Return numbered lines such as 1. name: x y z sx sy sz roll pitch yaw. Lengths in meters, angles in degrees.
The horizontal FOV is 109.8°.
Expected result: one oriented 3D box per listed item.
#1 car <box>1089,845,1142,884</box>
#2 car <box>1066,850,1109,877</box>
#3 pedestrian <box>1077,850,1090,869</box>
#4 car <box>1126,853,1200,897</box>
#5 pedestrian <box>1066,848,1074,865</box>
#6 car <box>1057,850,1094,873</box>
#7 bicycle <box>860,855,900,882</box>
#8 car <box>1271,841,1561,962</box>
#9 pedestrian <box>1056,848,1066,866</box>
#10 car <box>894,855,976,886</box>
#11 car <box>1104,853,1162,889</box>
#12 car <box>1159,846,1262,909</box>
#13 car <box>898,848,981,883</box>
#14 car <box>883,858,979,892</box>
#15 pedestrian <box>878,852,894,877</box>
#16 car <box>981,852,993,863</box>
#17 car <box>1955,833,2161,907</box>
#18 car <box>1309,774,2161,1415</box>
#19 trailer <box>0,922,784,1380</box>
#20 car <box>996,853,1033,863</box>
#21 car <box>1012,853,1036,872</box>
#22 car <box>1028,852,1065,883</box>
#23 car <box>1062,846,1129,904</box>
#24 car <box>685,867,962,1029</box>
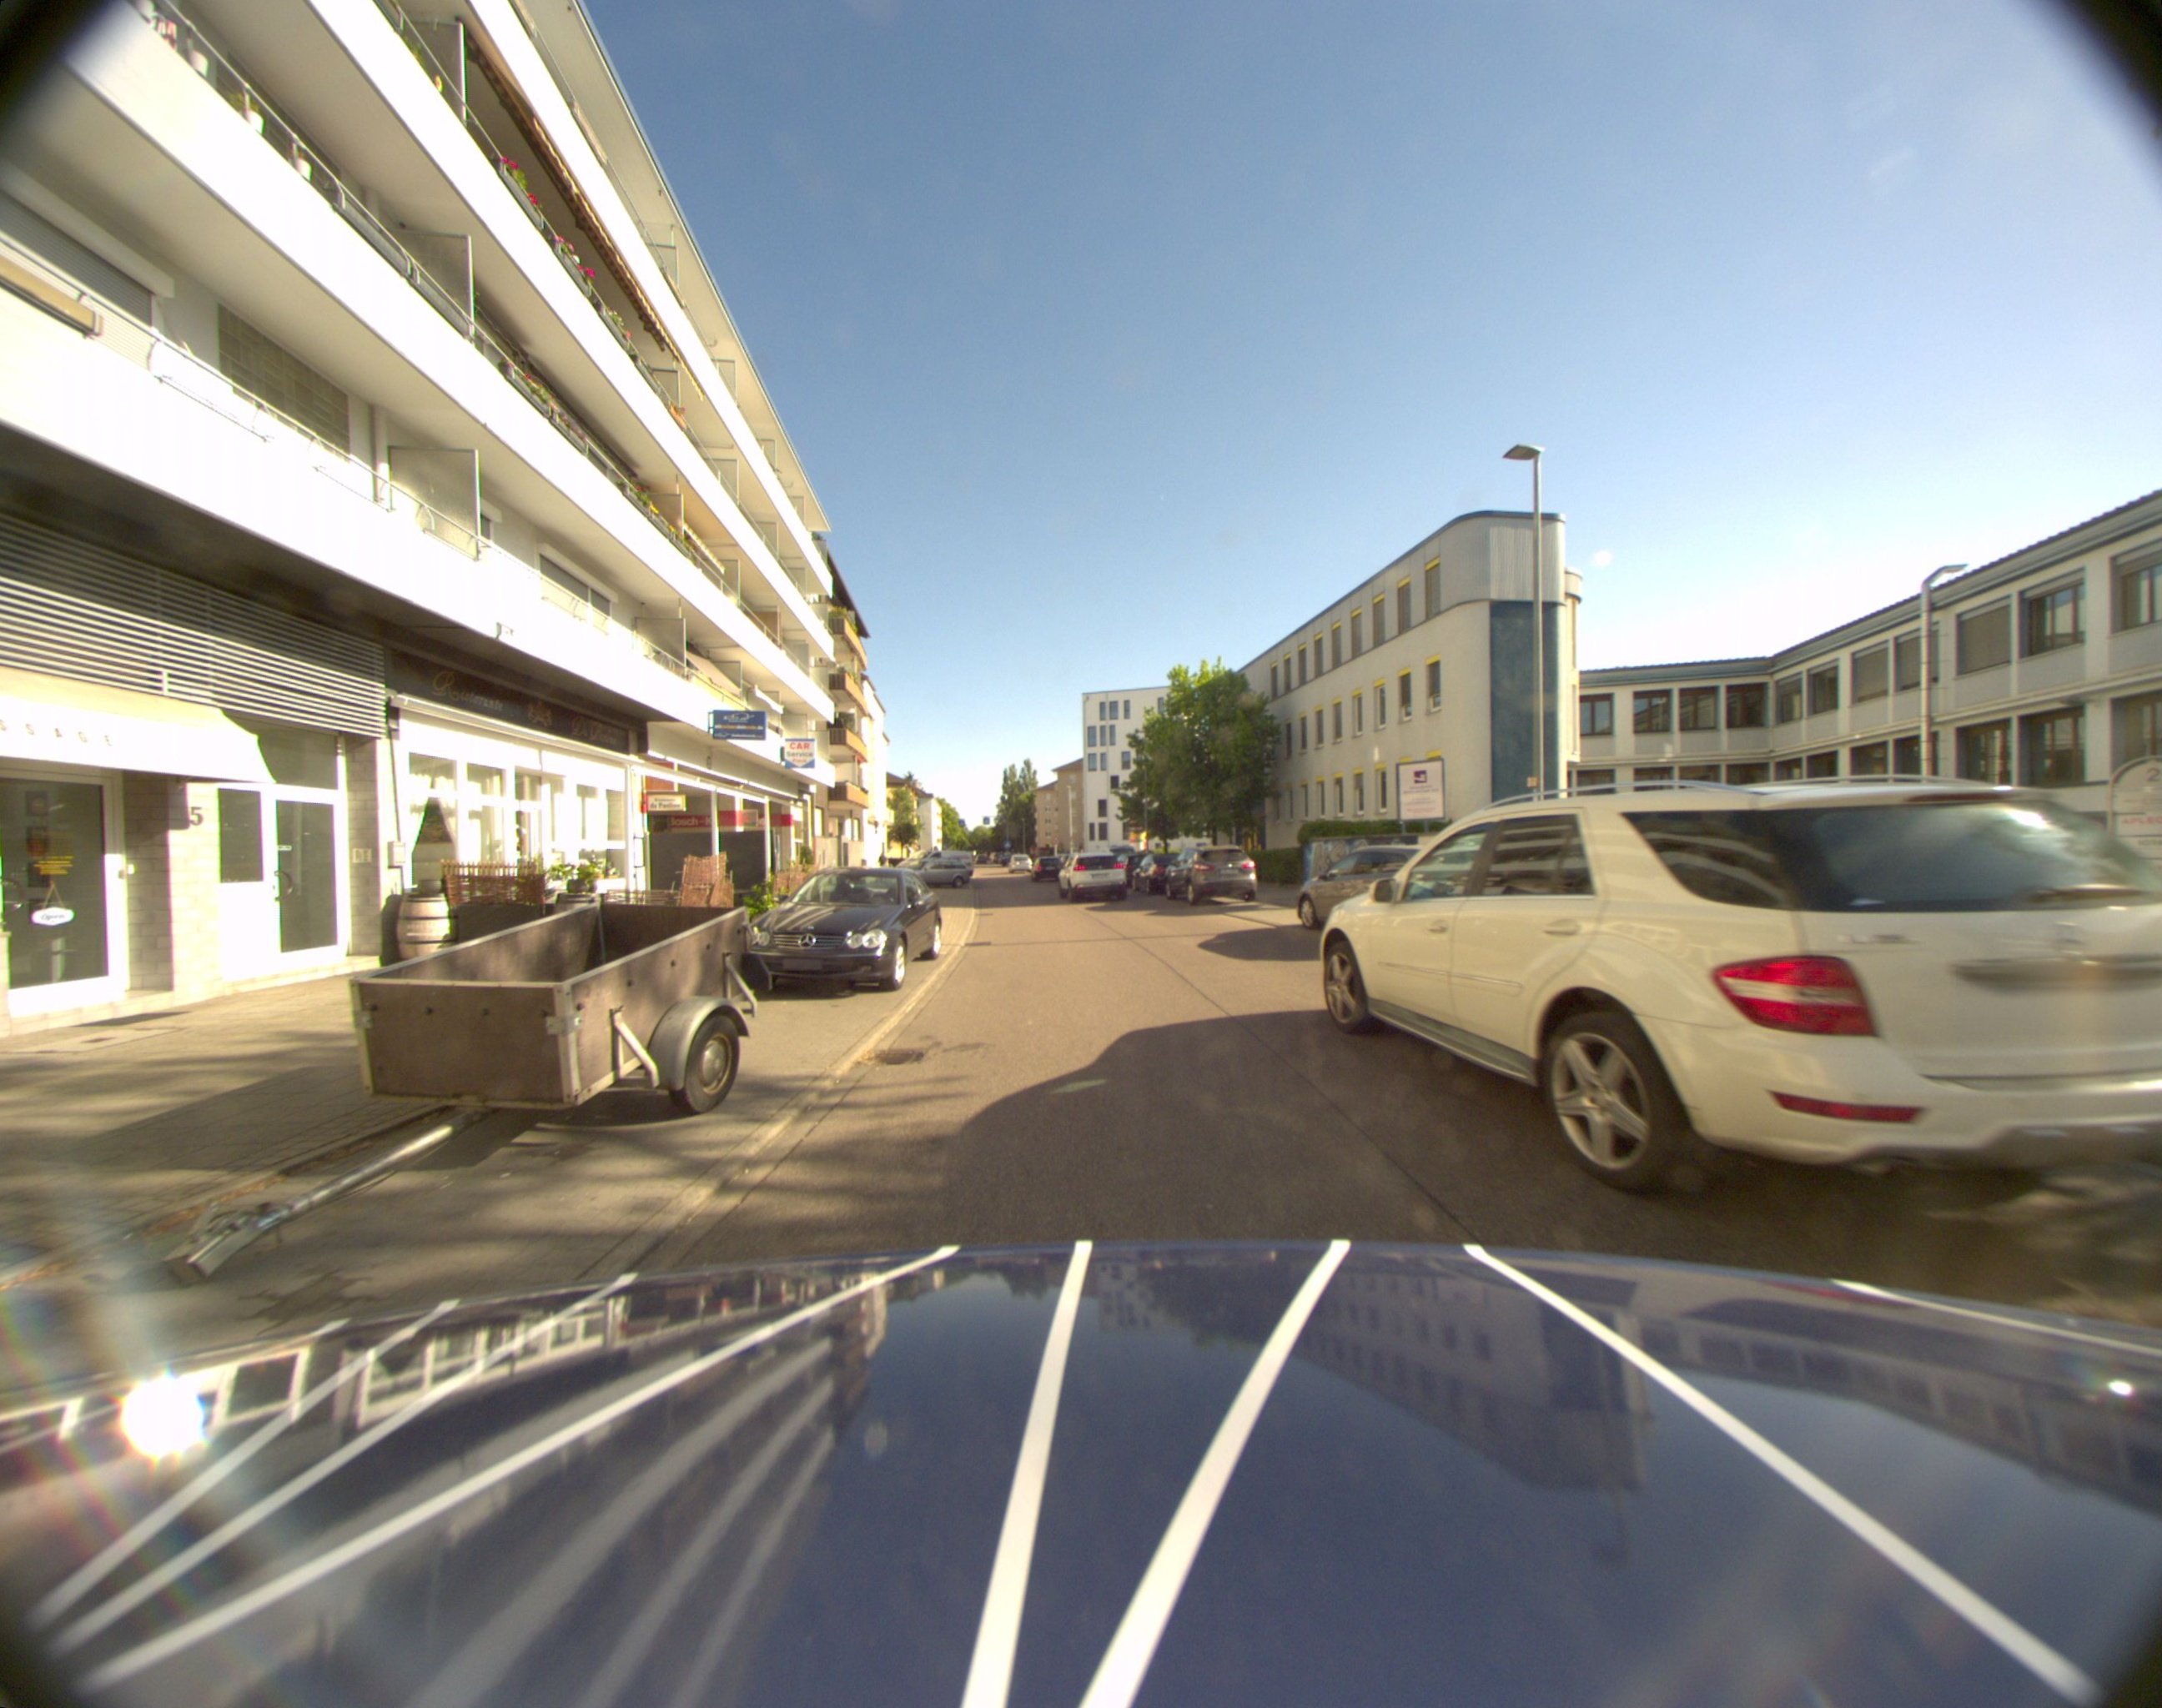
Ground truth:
1. car: 1.650 0.487 38.085 1.693 1.828 4.337 -1 0 -10
2. car: 0.343 0.575 48.093 1.914 1.521 4.620 -1 1 -9
3. pedestrian: 0.202 0.476 68.543 0.977 1.704 0.874 -1 1 14
4. car: 2.916 0.697 27.968 1.731 1.456 4.436 -1 0 -6
5. pedestrian: -1.285 0.300 87.911 0.790 1.875 0.846 -1 3 8
6. car: -0.417 0.484 52.930 1.914 1.470 4.376 -1 1 -9
7. bicycle: -9.946 0.707 37.638 0.705 1.246 2.265 -2 -1 20
8. car: 5.027 0.617 12.392 2.000 1.525 4.914 -1 0 -8
9. pedestrian: -2.431 0.313 90.465 0.777 2.108 0.956 -3 1 -29
10. car: -7.906 0.867 41.552 1.751 1.504 4.336 1 1 37
11. car: 2.214 0.698 33.346 1.603 1.432 3.996 -2 1 -10
12. car: 3.597 0.603 21.904 1.725 1.577 4.418 -1 0 -6
13. car: -8.353 0.673 45.168 2.043 1.887 4.540 3 2 41
14. car: -7.417 0.989 37.908 1.685 1.457 4.656 1 2 40
15. pedestrian: -12.605 0.647 49.112 0.835 1.584 0.888 0 1 -3
16. car: -15.925 0.552 128.714 1.842 1.496 4.132 -1 3 -8
17. car: 22.949 0.330 16.904 4.330 1.531 1.927 -1 0 10
18. car: 3.093 0.652 4.407 1.995 1.775 4.517 -1 0 -3
19. trailer: -3.041 1.102 3.976 1.606 1.171 2.943 -1 1 5
20. car: -8.968 0.572 102.916 4.572 1.160 1.995 -3 1 -37
21. car: -4.729 0.686 62.507 1.731 1.477 4.103 2 0 -7
22. car: -2.063 0.757 44.466 1.746 1.504 3.725 2 3 -9
23. car: 0.403 0.630 25.860 1.924 1.715 4.334 -1 1 -3
24. car: -3.018 1.008 10.258 1.976 1.442 5.002 -1 1 0
